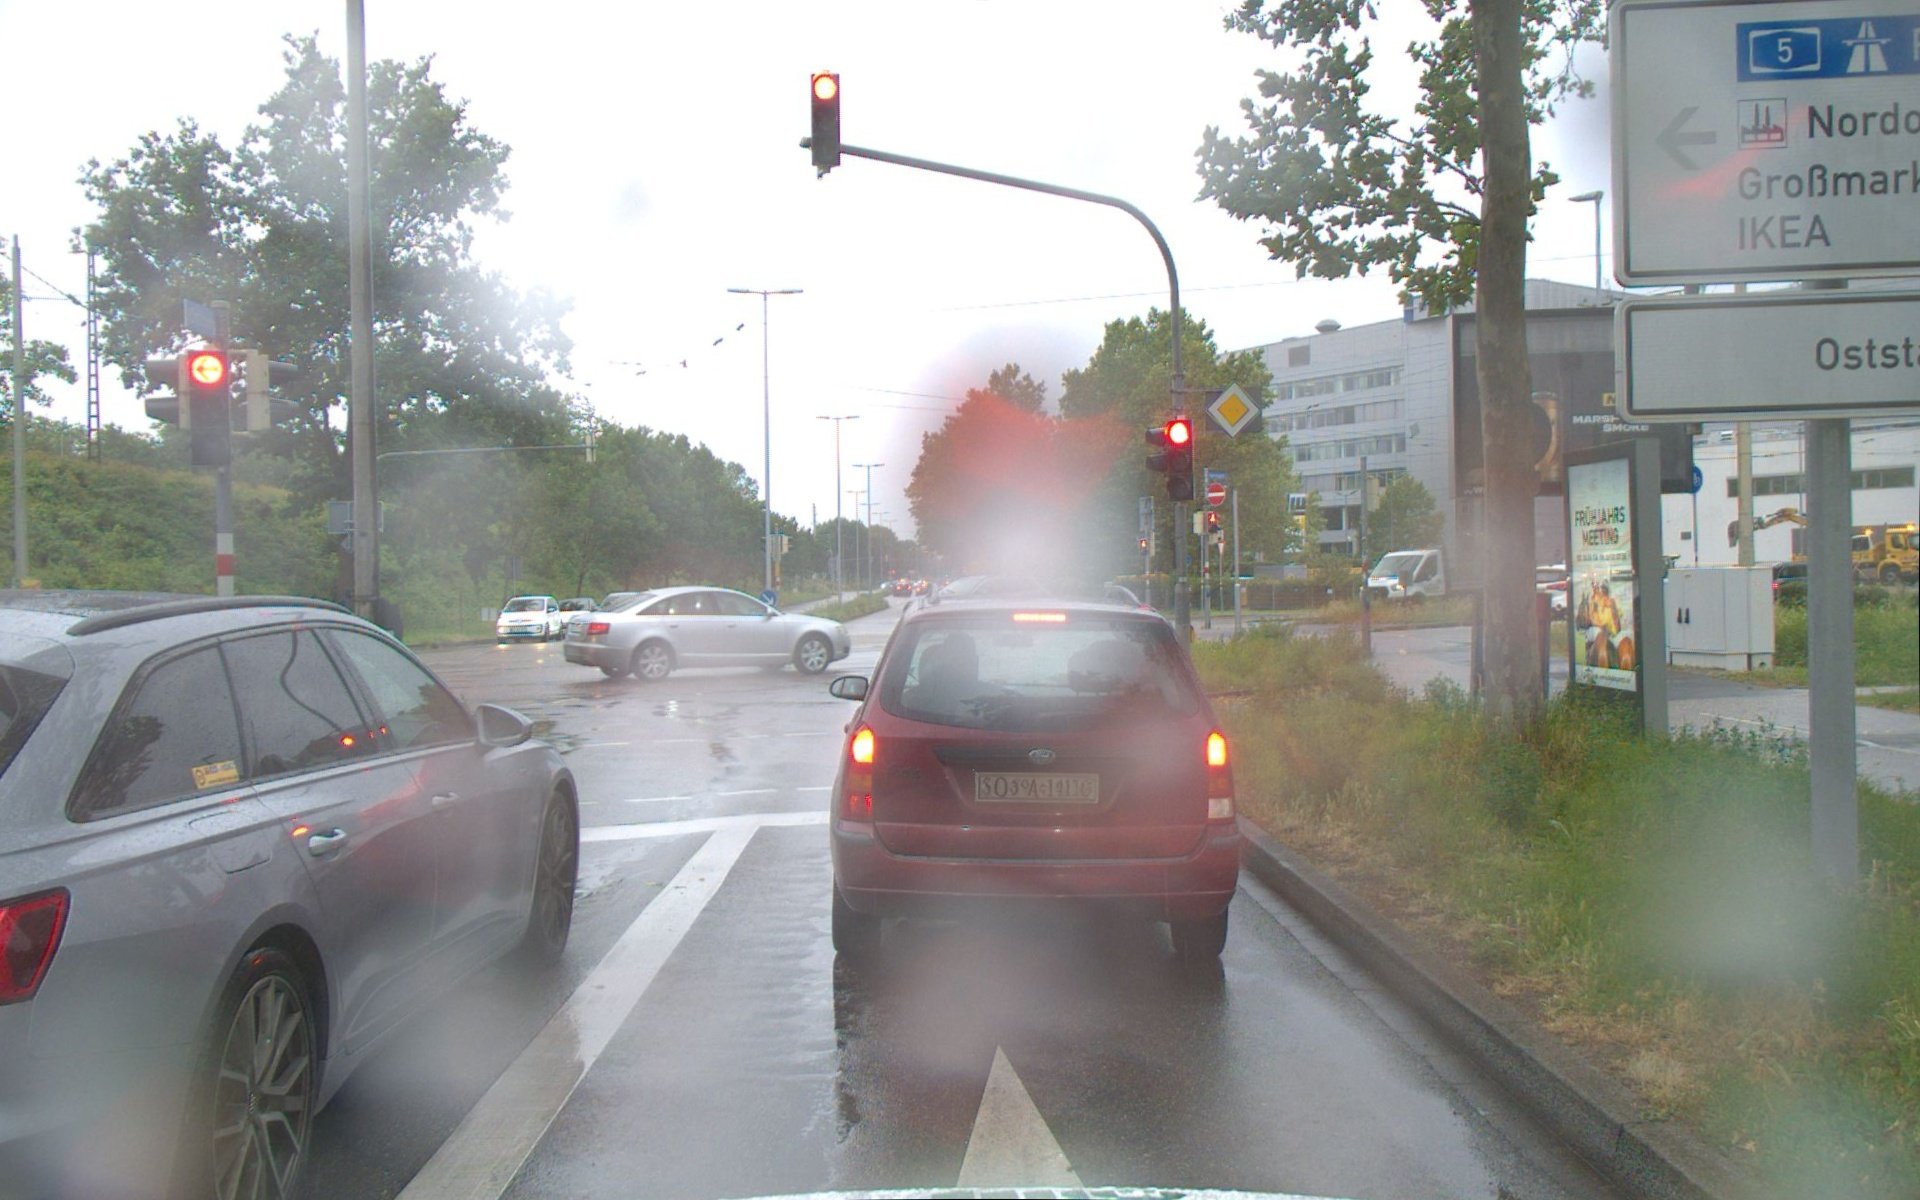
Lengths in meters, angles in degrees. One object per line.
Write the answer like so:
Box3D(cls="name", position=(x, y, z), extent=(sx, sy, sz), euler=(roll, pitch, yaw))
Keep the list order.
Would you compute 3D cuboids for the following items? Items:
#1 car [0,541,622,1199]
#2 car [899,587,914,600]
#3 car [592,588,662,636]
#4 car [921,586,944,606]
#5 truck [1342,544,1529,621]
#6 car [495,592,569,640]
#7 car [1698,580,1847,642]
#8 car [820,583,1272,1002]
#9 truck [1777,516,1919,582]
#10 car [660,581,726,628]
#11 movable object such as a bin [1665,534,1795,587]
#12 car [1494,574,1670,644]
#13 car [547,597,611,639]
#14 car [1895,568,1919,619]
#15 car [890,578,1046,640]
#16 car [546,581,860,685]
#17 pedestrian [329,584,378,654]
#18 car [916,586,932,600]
Box3D(cls="car", position=(-2.297, 0.675, 4.847), extent=(1.733, 1.601, 4.819), euler=(1, 0, -2))
Box3D(cls="car", position=(-6.462, -0.766, 200.802), extent=(1.663, 1.554, 3.846), euler=(-1, 0, 1))
Box3D(cls="car", position=(-11.229, 0.367, 55.962), extent=(1.605, 1.499, 3.964), euler=(-2, 1, -1))
Box3D(cls="car", position=(-2.147, -0.321, 130.460), extent=(1.636, 1.554, 3.846), euler=(-1, 0, 1))
Box3D(cls="truck", position=(15.848, -0.607, 54.921), extent=(6.796, 2.406, 2.449), euler=(-1, 0, -38))
Box3D(cls="car", position=(-14.164, 0.492, 54.873), extent=(1.605, 1.478, 3.785), euler=(-2, 1, -3))
Box3D(cls="car", position=(22.663, 0.284, 46.069), extent=(4.578, 1.614, 1.901), euler=(-1, 0, -38))
Box3D(cls="car", position=(0.257, 0.679, 7.817), extent=(1.609, 1.490, 3.731), euler=(1, 0, -2))
Box3D(cls="truck", position=(52.799, -2.969, 97.352), extent=(3.292, 3.568, 7.789), euler=(-2, 0, -36))
Box3D(cls="car", position=(-11.405, 0.167, 70.972), extent=(2.024, 1.851, 5.539), euler=(-2, 1, -2))
Box3D(cls="movable object such as a bin", position=(48.346, -2.443, 103.964), extent=(3.292, 3.048, 6.634), euler=(-2, 0, -36))
Box3D(cls="car", position=(15.426, 0.205, 40.923), extent=(4.575, 1.614, 1.902), euler=(-1, 0, -37))
Box3D(cls="car", position=(-14.065, 0.632, 61.200), extent=(1.558, 1.428, 3.822), euler=(-2, 1, -2))
Box3D(cls="car", position=(32.106, -0.245, 53.161), extent=(4.576, 1.614, 1.902), euler=(-1, 0, -37))
Box3D(cls="car", position=(0.248, 0.226, 46.154), extent=(4.202, 1.586, 1.723), euler=(-1, 0, -38))
Box3D(cls="car", position=(-4.189, 0.499, 27.197), extent=(4.765, 1.517, 1.907), euler=(-1, 0, -31))
Box3D(cls="pedestrian", position=(-16.652, 0.509, 45.423), extent=(1.083, 1.879, 1.127), euler=(-1, 0, -13))
Box3D(cls="car", position=(-4.168, -0.810, 190.366), extent=(1.663, 1.554, 3.846), euler=(-1, 0, 0))
